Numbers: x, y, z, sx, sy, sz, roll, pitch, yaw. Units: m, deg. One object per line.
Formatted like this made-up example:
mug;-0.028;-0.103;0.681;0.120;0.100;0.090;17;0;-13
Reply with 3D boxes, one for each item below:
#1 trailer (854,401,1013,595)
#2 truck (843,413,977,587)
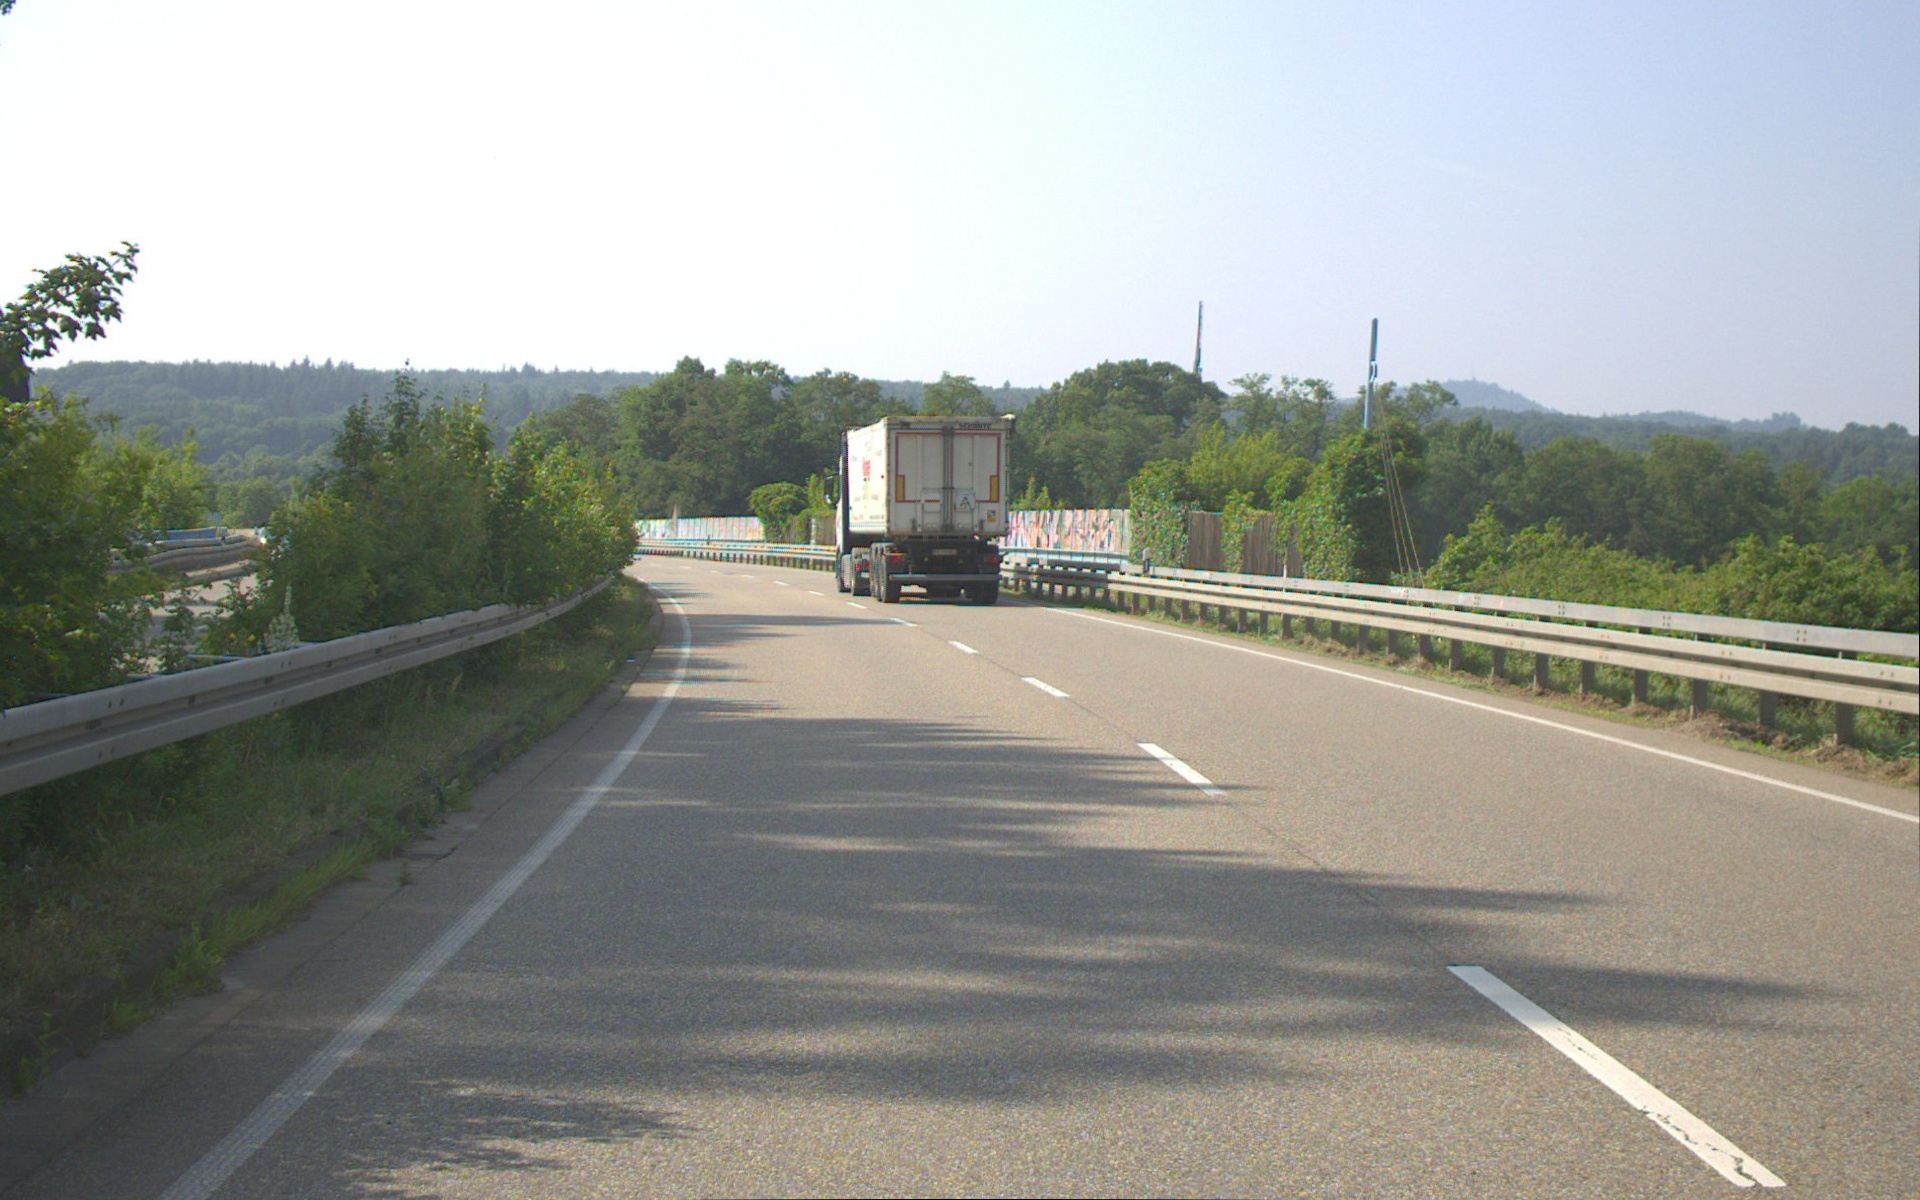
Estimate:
trailer;-0.687;-2.188;74.894;2.679;3.893;9.674;1;1;-5
truck;-1.220;-2.332;80.735;2.658;3.882;5.649;1;1;-5
